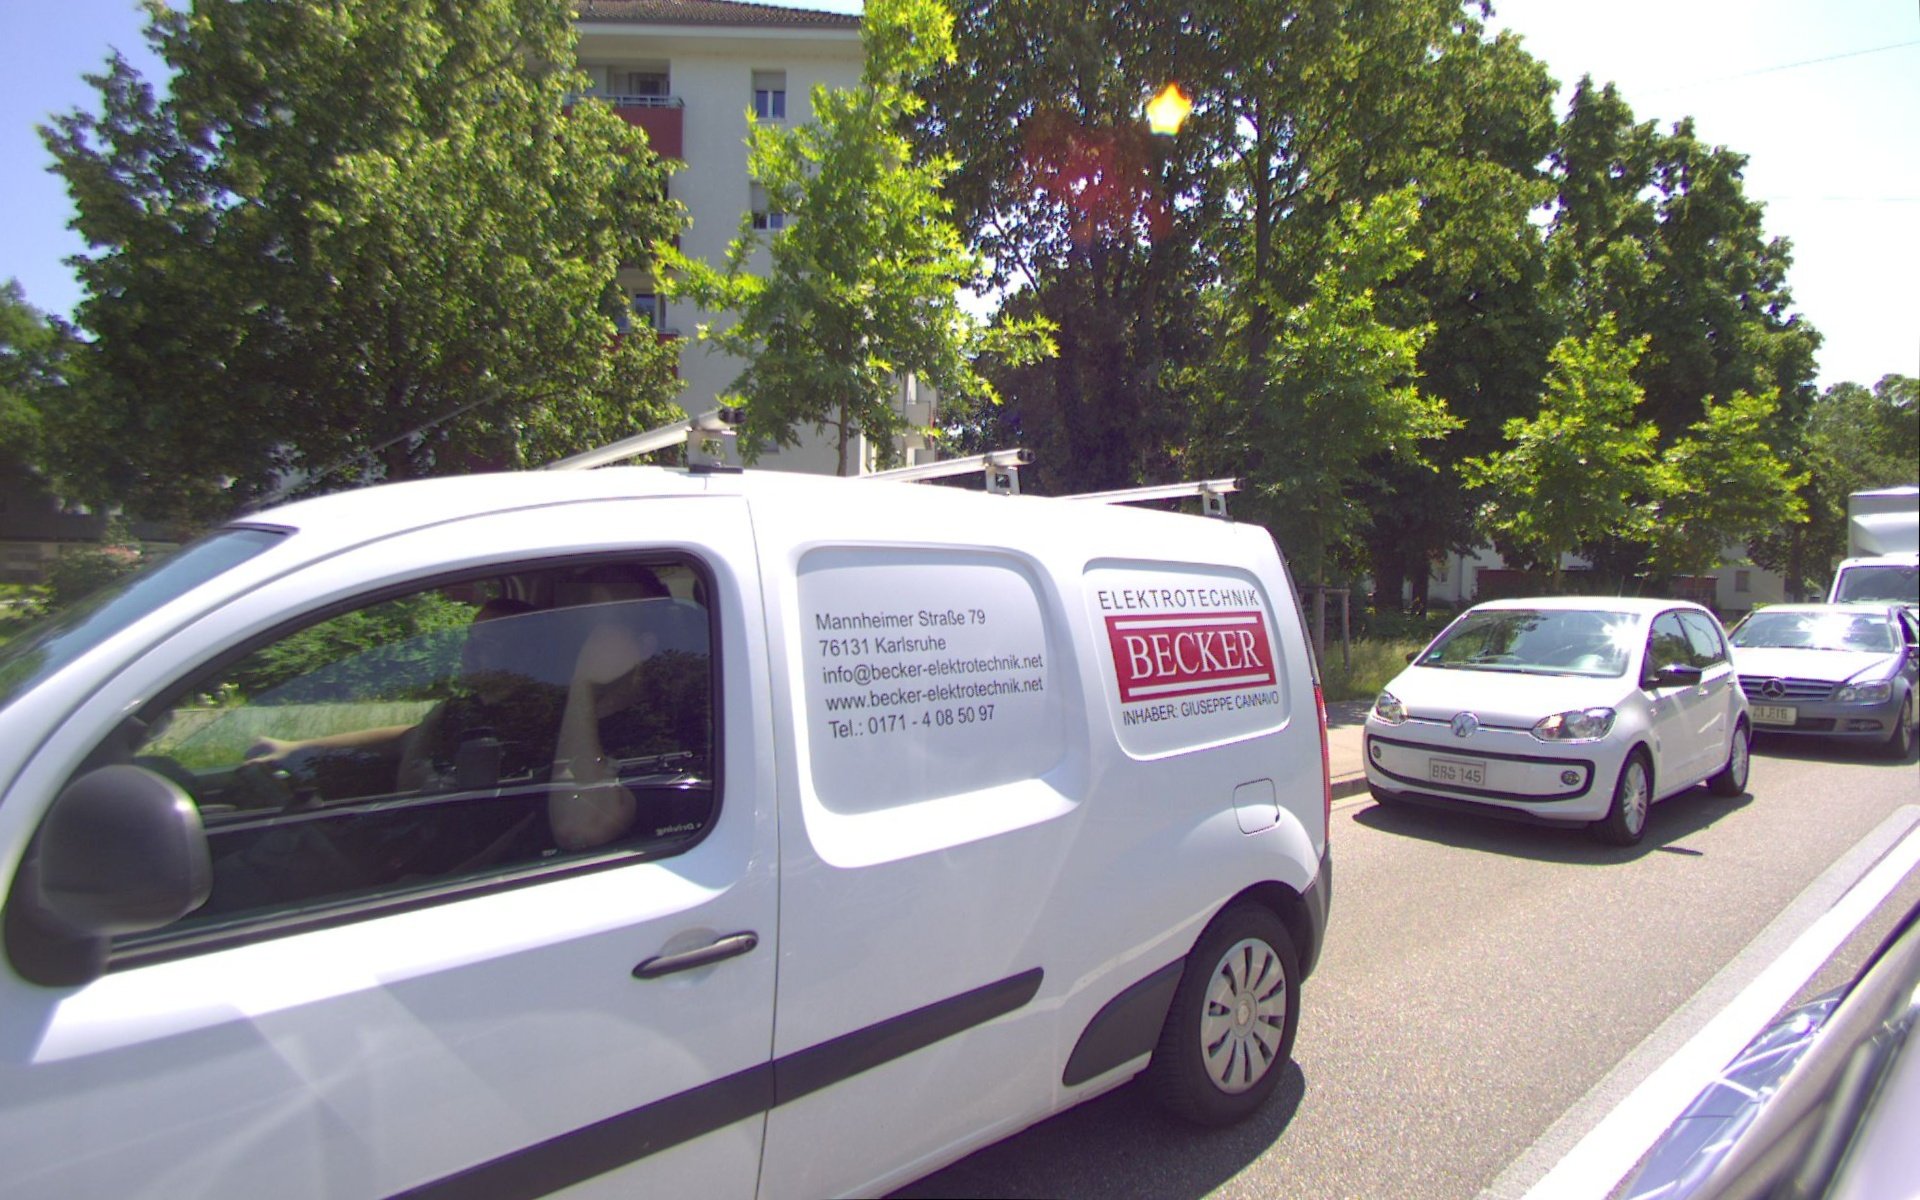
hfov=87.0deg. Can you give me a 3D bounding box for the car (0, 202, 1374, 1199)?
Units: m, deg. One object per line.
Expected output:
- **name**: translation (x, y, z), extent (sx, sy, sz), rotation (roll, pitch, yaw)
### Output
- **car**: translation (-0.996, 0.452, 2.535), extent (4.370, 1.849, 1.997), rotation (0, 1, -41)

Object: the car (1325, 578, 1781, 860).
- **car**: translation (4.397, 0.619, 7.289), extent (3.705, 1.497, 1.729), rotation (0, 1, -41)

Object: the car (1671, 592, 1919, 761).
- **car**: translation (9.230, 0.651, 10.739), extent (4.016, 1.426, 1.839), rotation (0, 1, -41)

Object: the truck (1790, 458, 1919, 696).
- **truck**: translation (16.513, -0.342, 16.974), extent (7.778, 3.387, 2.434), rotation (0, 1, -39)
